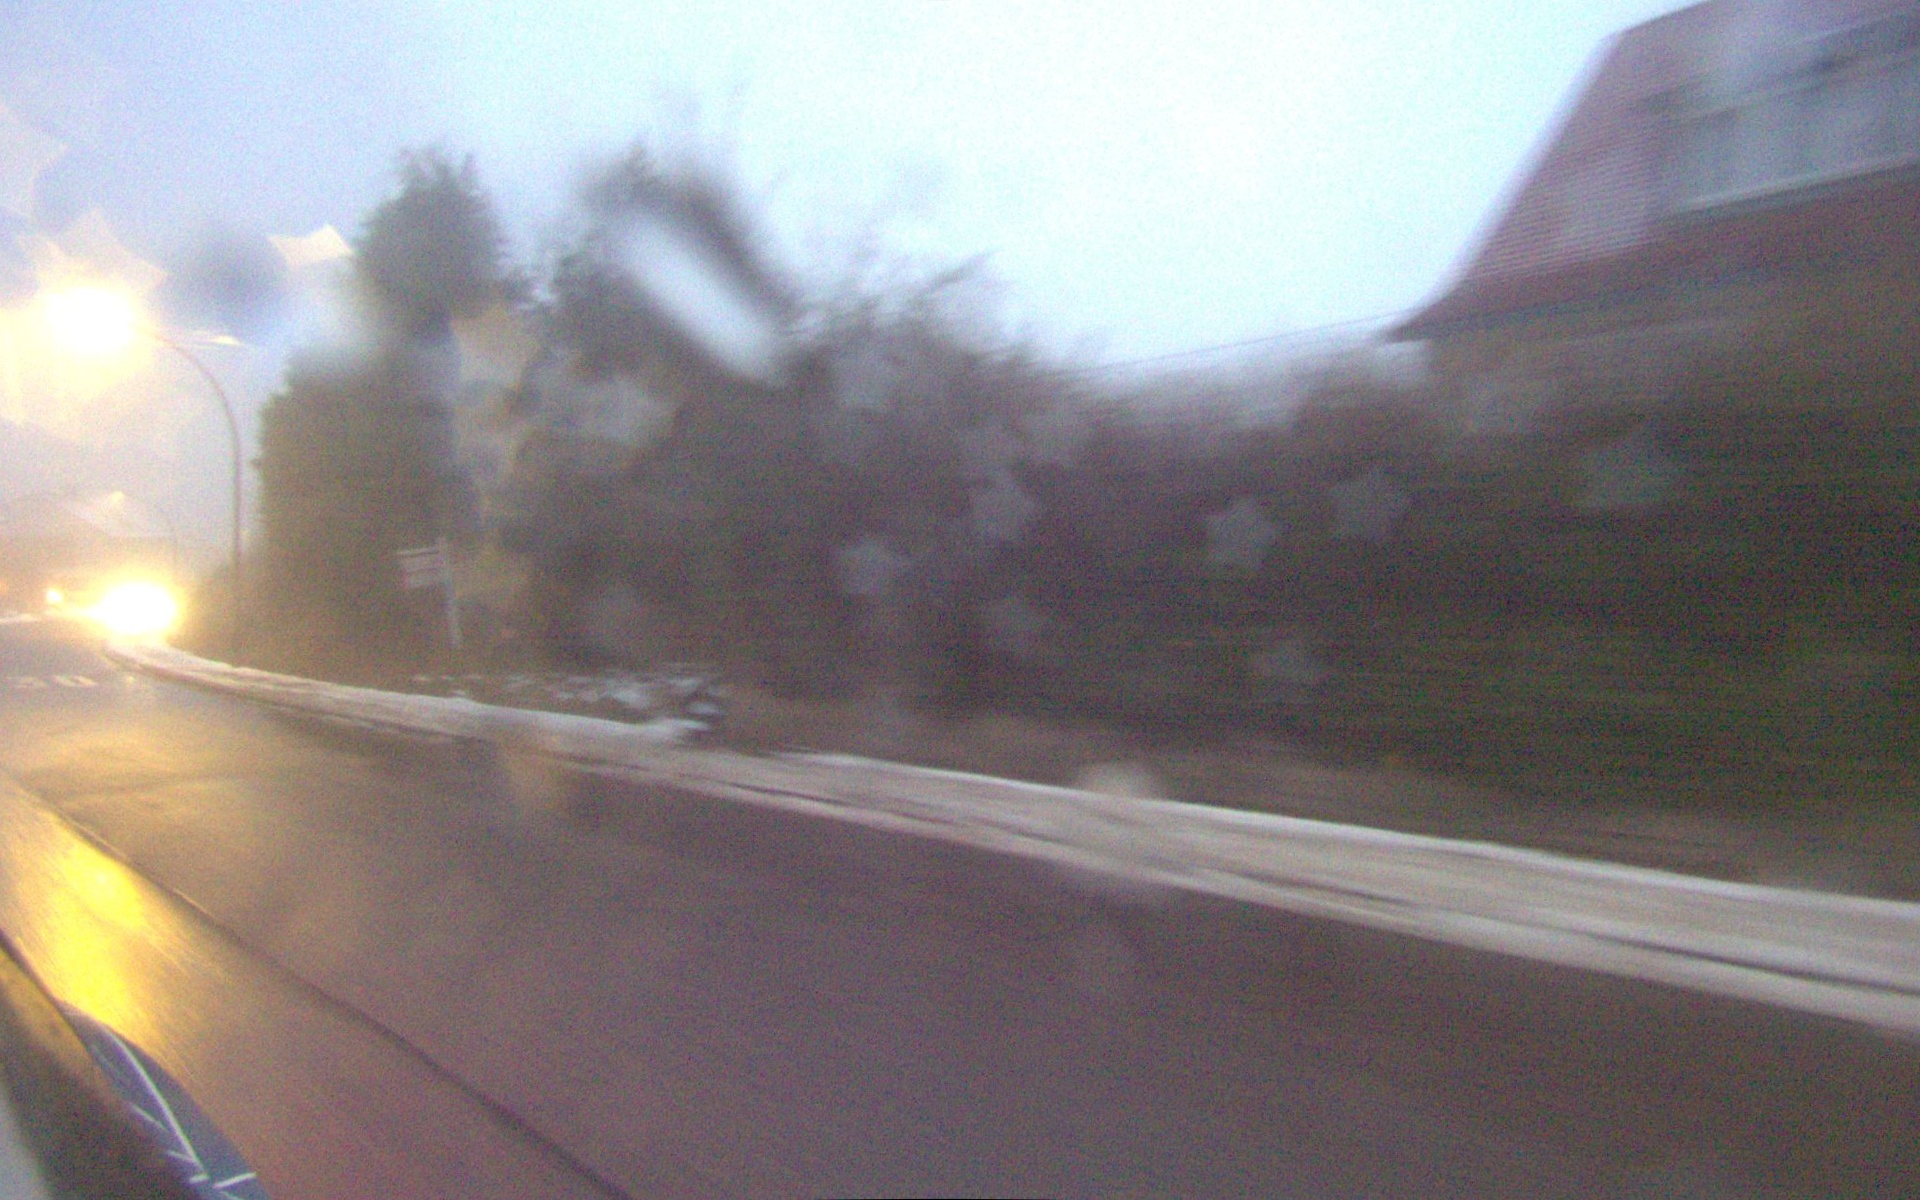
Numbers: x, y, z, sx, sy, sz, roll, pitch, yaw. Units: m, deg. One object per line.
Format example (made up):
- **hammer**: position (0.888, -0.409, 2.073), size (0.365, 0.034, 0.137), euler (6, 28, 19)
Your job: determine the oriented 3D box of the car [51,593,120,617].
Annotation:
- **car**: position (-76.686, 0.414, 88.812), size (4.149, 1.872, 1.917), euler (3, 0, -14)
